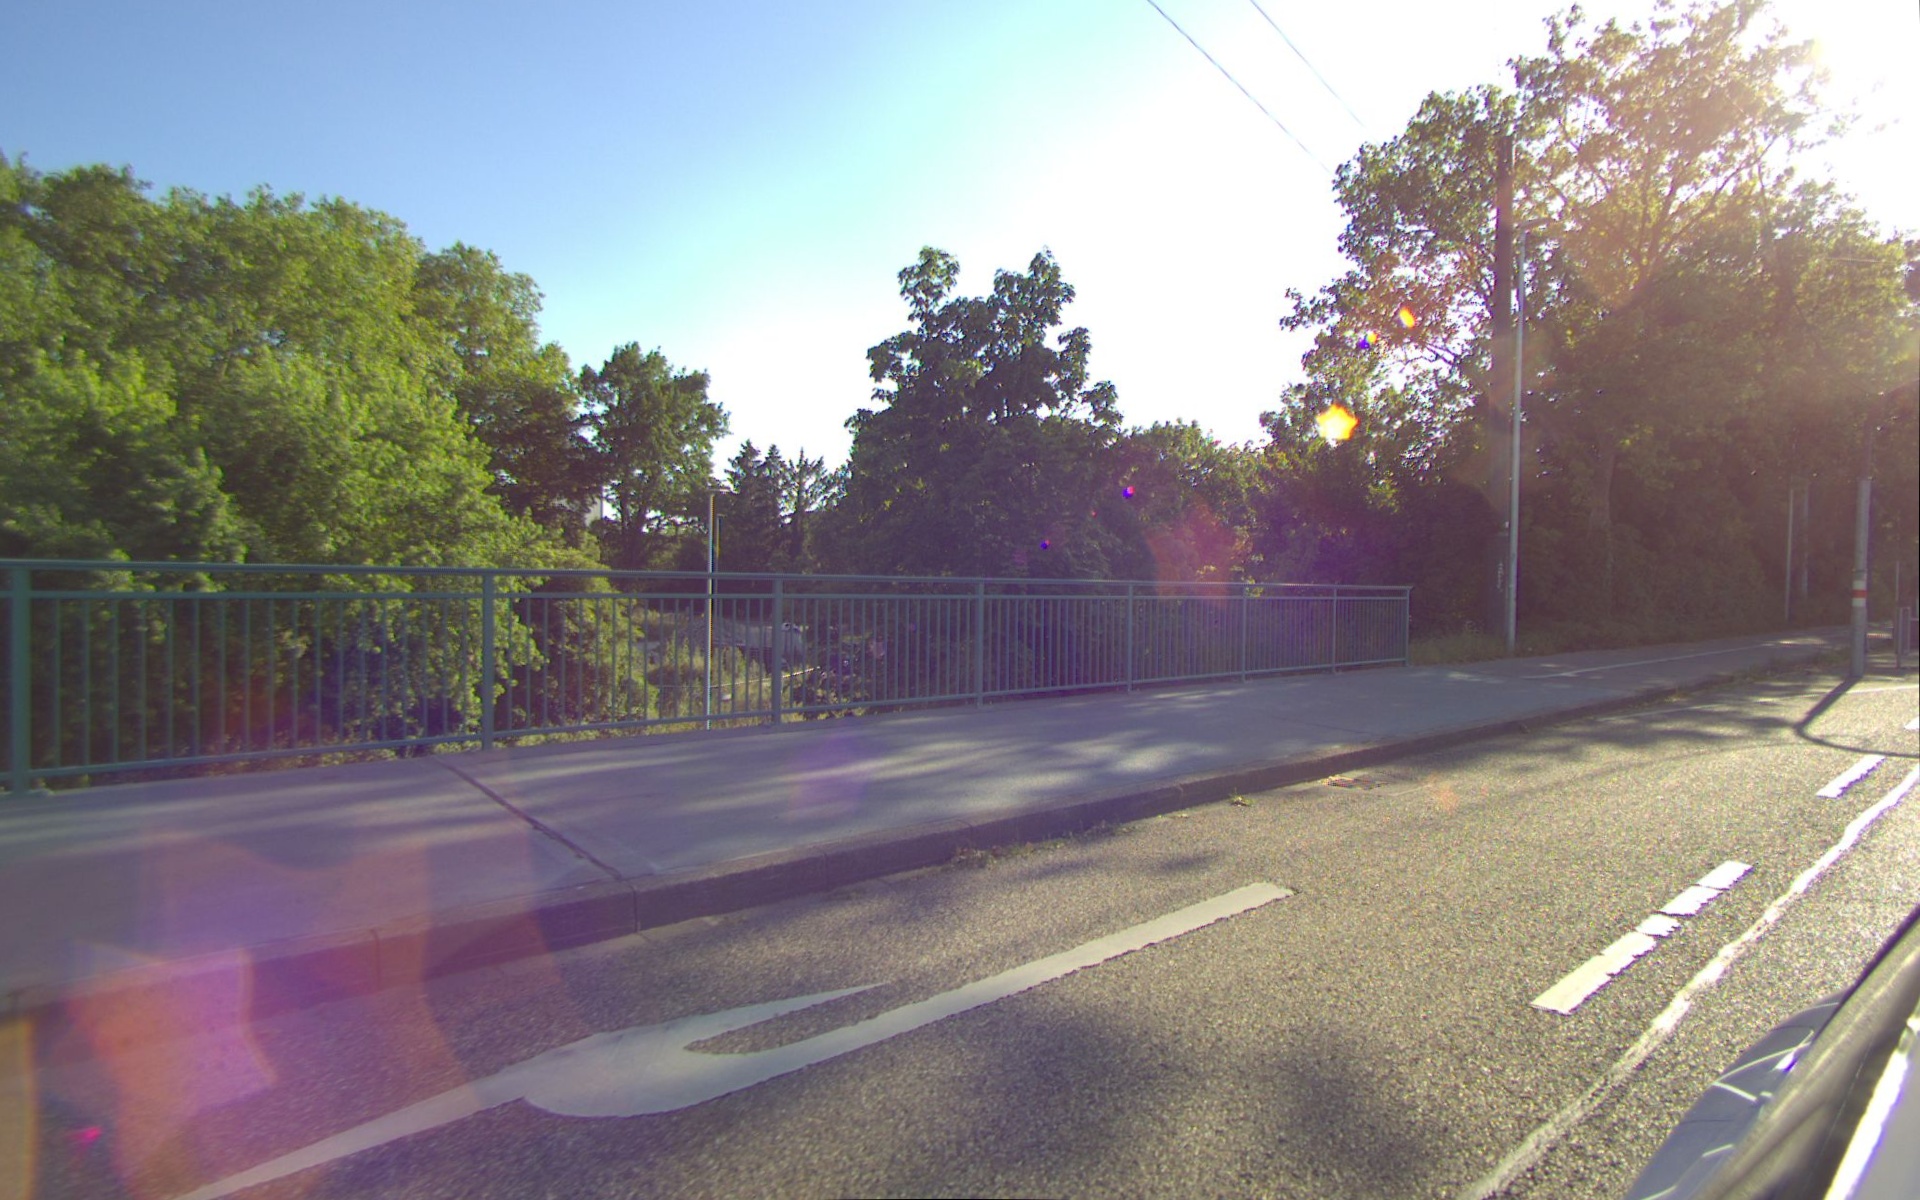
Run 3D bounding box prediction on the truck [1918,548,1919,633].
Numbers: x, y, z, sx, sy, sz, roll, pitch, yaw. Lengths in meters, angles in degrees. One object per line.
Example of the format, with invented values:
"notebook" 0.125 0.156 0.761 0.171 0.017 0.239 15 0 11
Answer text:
"truck" 35.424 -0.531 34.946 7.732 3.244 2.608 0 1 -41
